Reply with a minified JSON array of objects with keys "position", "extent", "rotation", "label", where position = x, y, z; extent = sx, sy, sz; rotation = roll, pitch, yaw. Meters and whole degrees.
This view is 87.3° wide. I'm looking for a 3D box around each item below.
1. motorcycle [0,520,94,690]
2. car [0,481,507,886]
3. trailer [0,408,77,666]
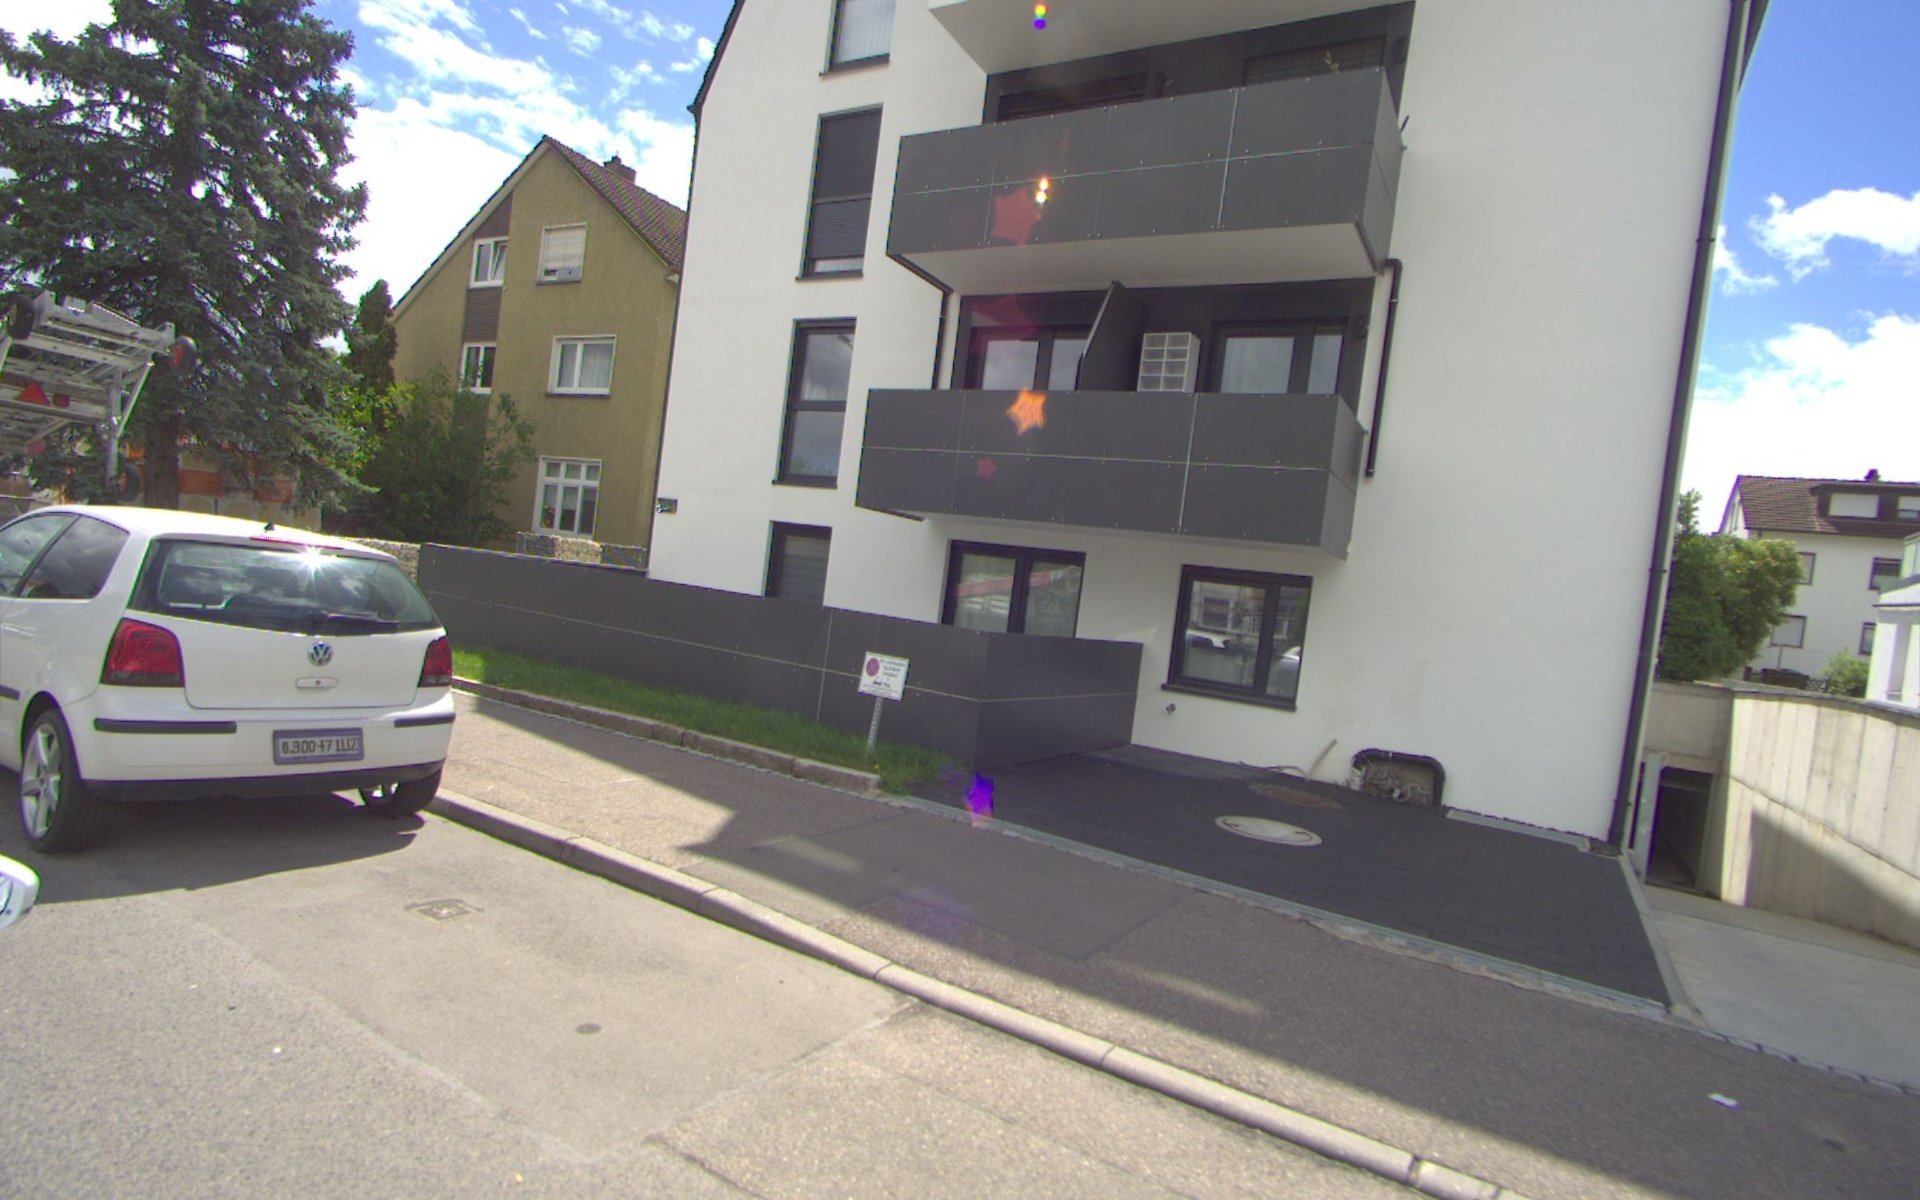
[{"position":[-7.397,0.016,7.241],"extent":[0.704,1.225,1.821],"rotation":[7,1,-3],"label":"motorcycle"},{"position":[-4.470,0.180,5.569],"extent":[3.919,1.451,1.719],"rotation":[8,2,34],"label":"car"},{"position":[-10.056,-0.763,9.181],"extent":[4.045,2.172,1.774],"rotation":[7,1,32],"label":"trailer"}]
